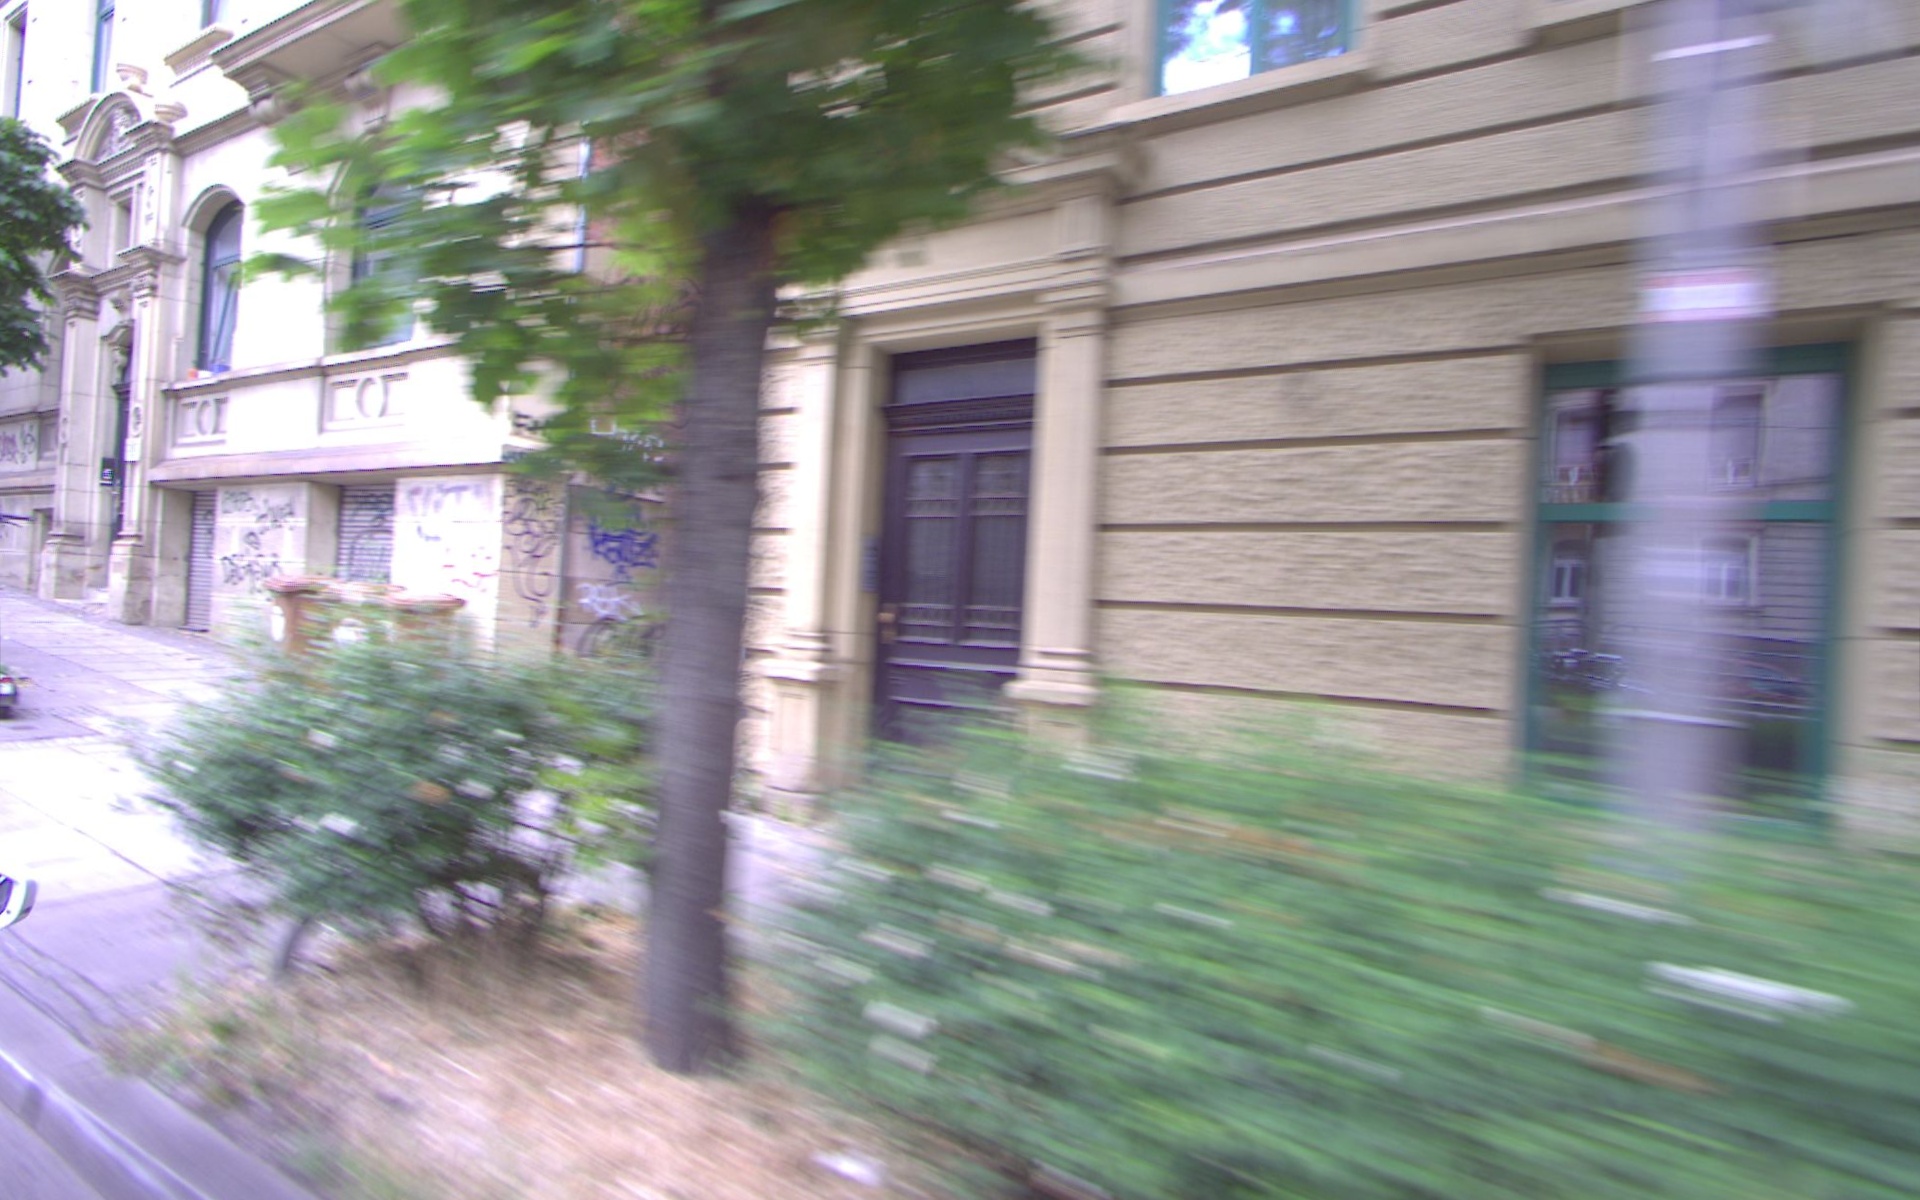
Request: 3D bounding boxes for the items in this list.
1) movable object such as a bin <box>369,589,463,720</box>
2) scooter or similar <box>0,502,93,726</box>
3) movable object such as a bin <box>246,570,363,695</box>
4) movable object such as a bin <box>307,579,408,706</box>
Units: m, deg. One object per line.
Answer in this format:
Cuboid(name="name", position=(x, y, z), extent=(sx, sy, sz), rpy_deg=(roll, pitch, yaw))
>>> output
Cuboid(name="movable object such as a bin", position=(-4.149, 0.417, 7.667), extent=(0.497, 0.931, 0.439), rpy_deg=(5, 2, -39))
Cuboid(name="scooter or similar", position=(-6.202, 0.036, 6.372), extent=(1.361, 1.321, 0.662), rpy_deg=(6, 3, 32))
Cuboid(name="movable object such as a bin", position=(-5.289, 0.253, 8.124), extent=(0.485, 0.932, 0.611), rpy_deg=(7, 3, 34))
Cuboid(name="movable object such as a bin", position=(-4.736, 0.324, 7.924), extent=(0.484, 0.932, 0.500), rpy_deg=(5, 3, -10))
